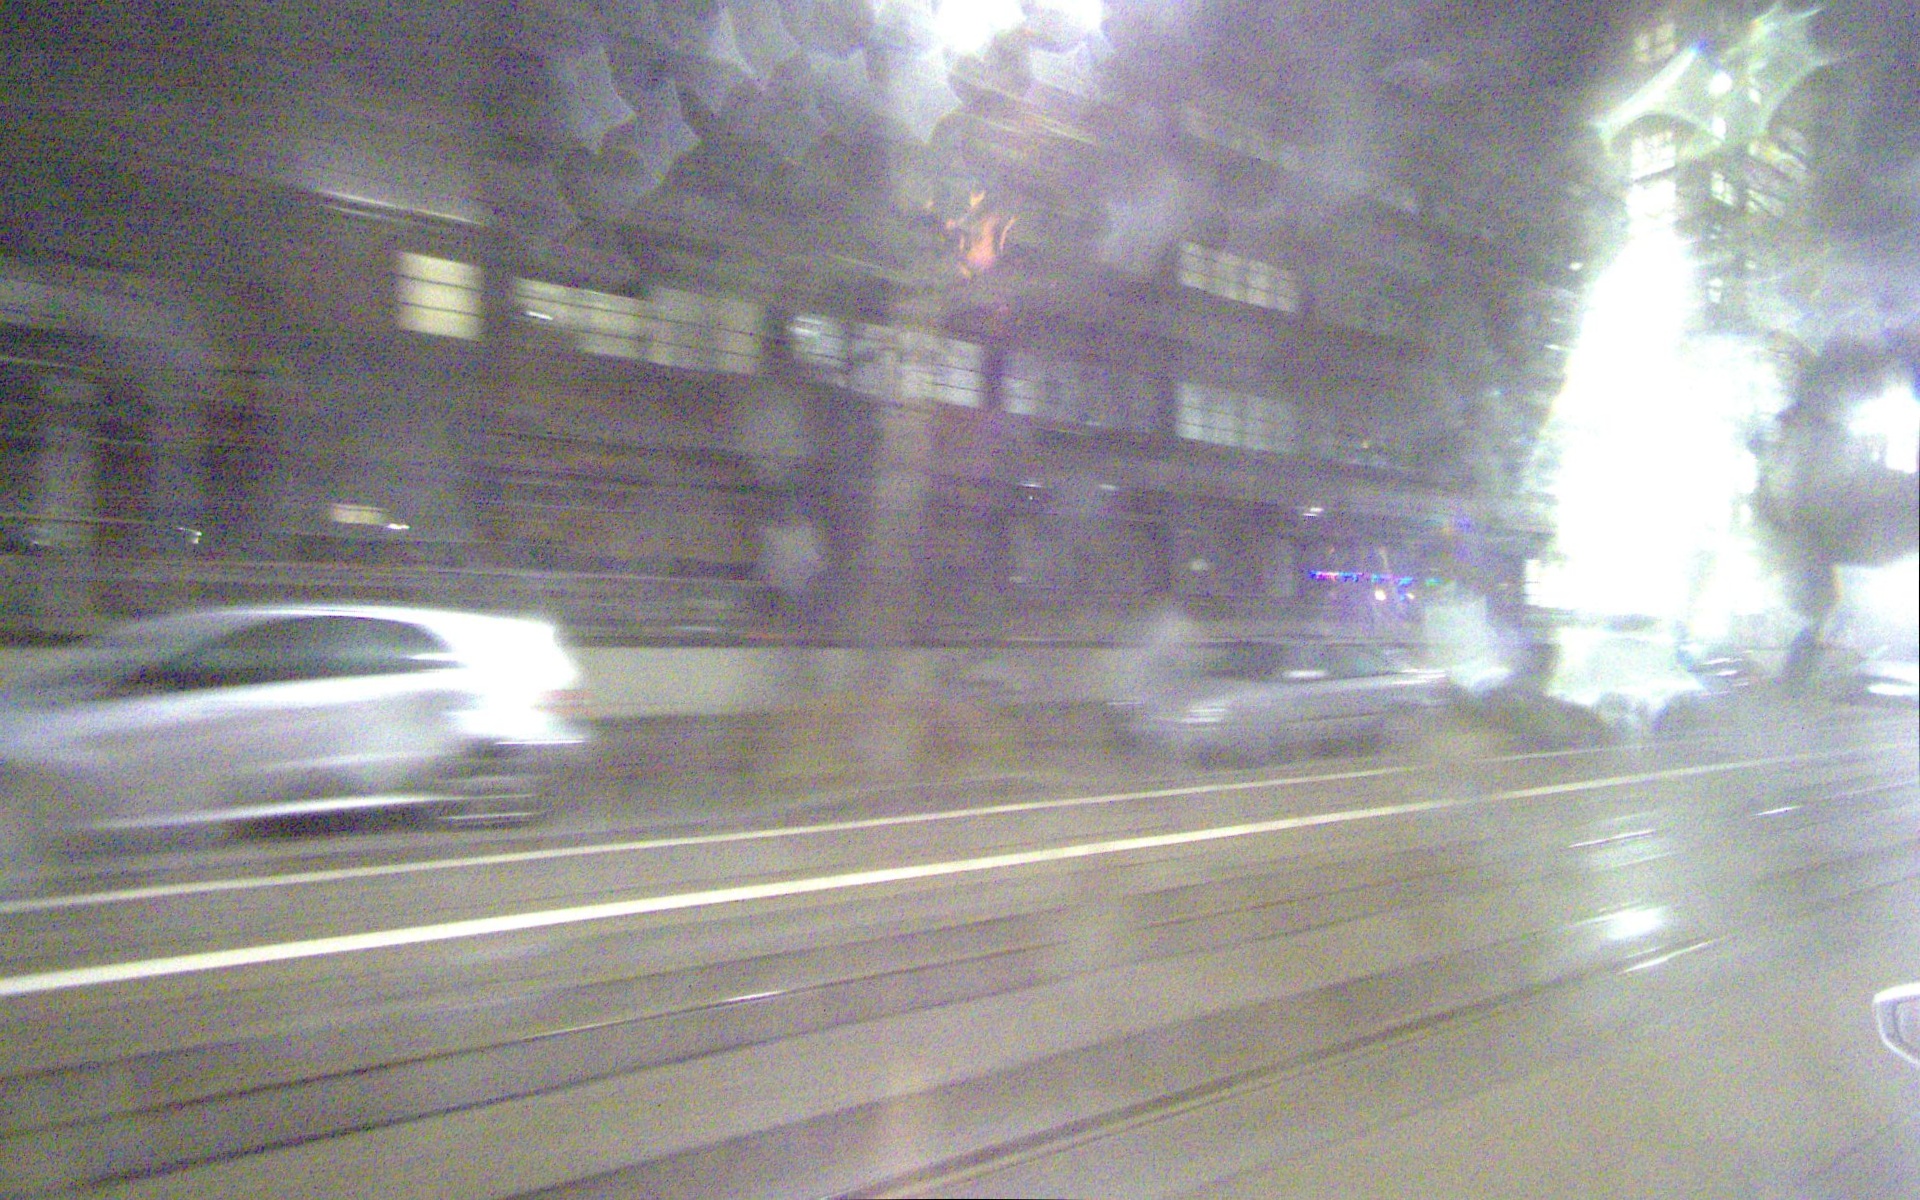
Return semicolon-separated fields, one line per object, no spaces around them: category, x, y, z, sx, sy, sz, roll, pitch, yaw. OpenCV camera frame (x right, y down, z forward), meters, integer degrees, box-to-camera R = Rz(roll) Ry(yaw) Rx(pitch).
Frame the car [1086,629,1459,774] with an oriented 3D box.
car;3.889;1.115;12.245;4.571;1.457;1.723;1;-1;-30

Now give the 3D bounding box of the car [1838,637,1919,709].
car;21.625;1.581;22.580;4.560;1.459;1.762;1;-2;-34

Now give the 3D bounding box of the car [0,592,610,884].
car;-4.886;0.801;7.101;4.302;1.600;1.801;1;2;-30

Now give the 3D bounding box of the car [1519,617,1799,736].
car;11.723;1.182;16.800;4.536;1.641;2.132;1;1;-31
